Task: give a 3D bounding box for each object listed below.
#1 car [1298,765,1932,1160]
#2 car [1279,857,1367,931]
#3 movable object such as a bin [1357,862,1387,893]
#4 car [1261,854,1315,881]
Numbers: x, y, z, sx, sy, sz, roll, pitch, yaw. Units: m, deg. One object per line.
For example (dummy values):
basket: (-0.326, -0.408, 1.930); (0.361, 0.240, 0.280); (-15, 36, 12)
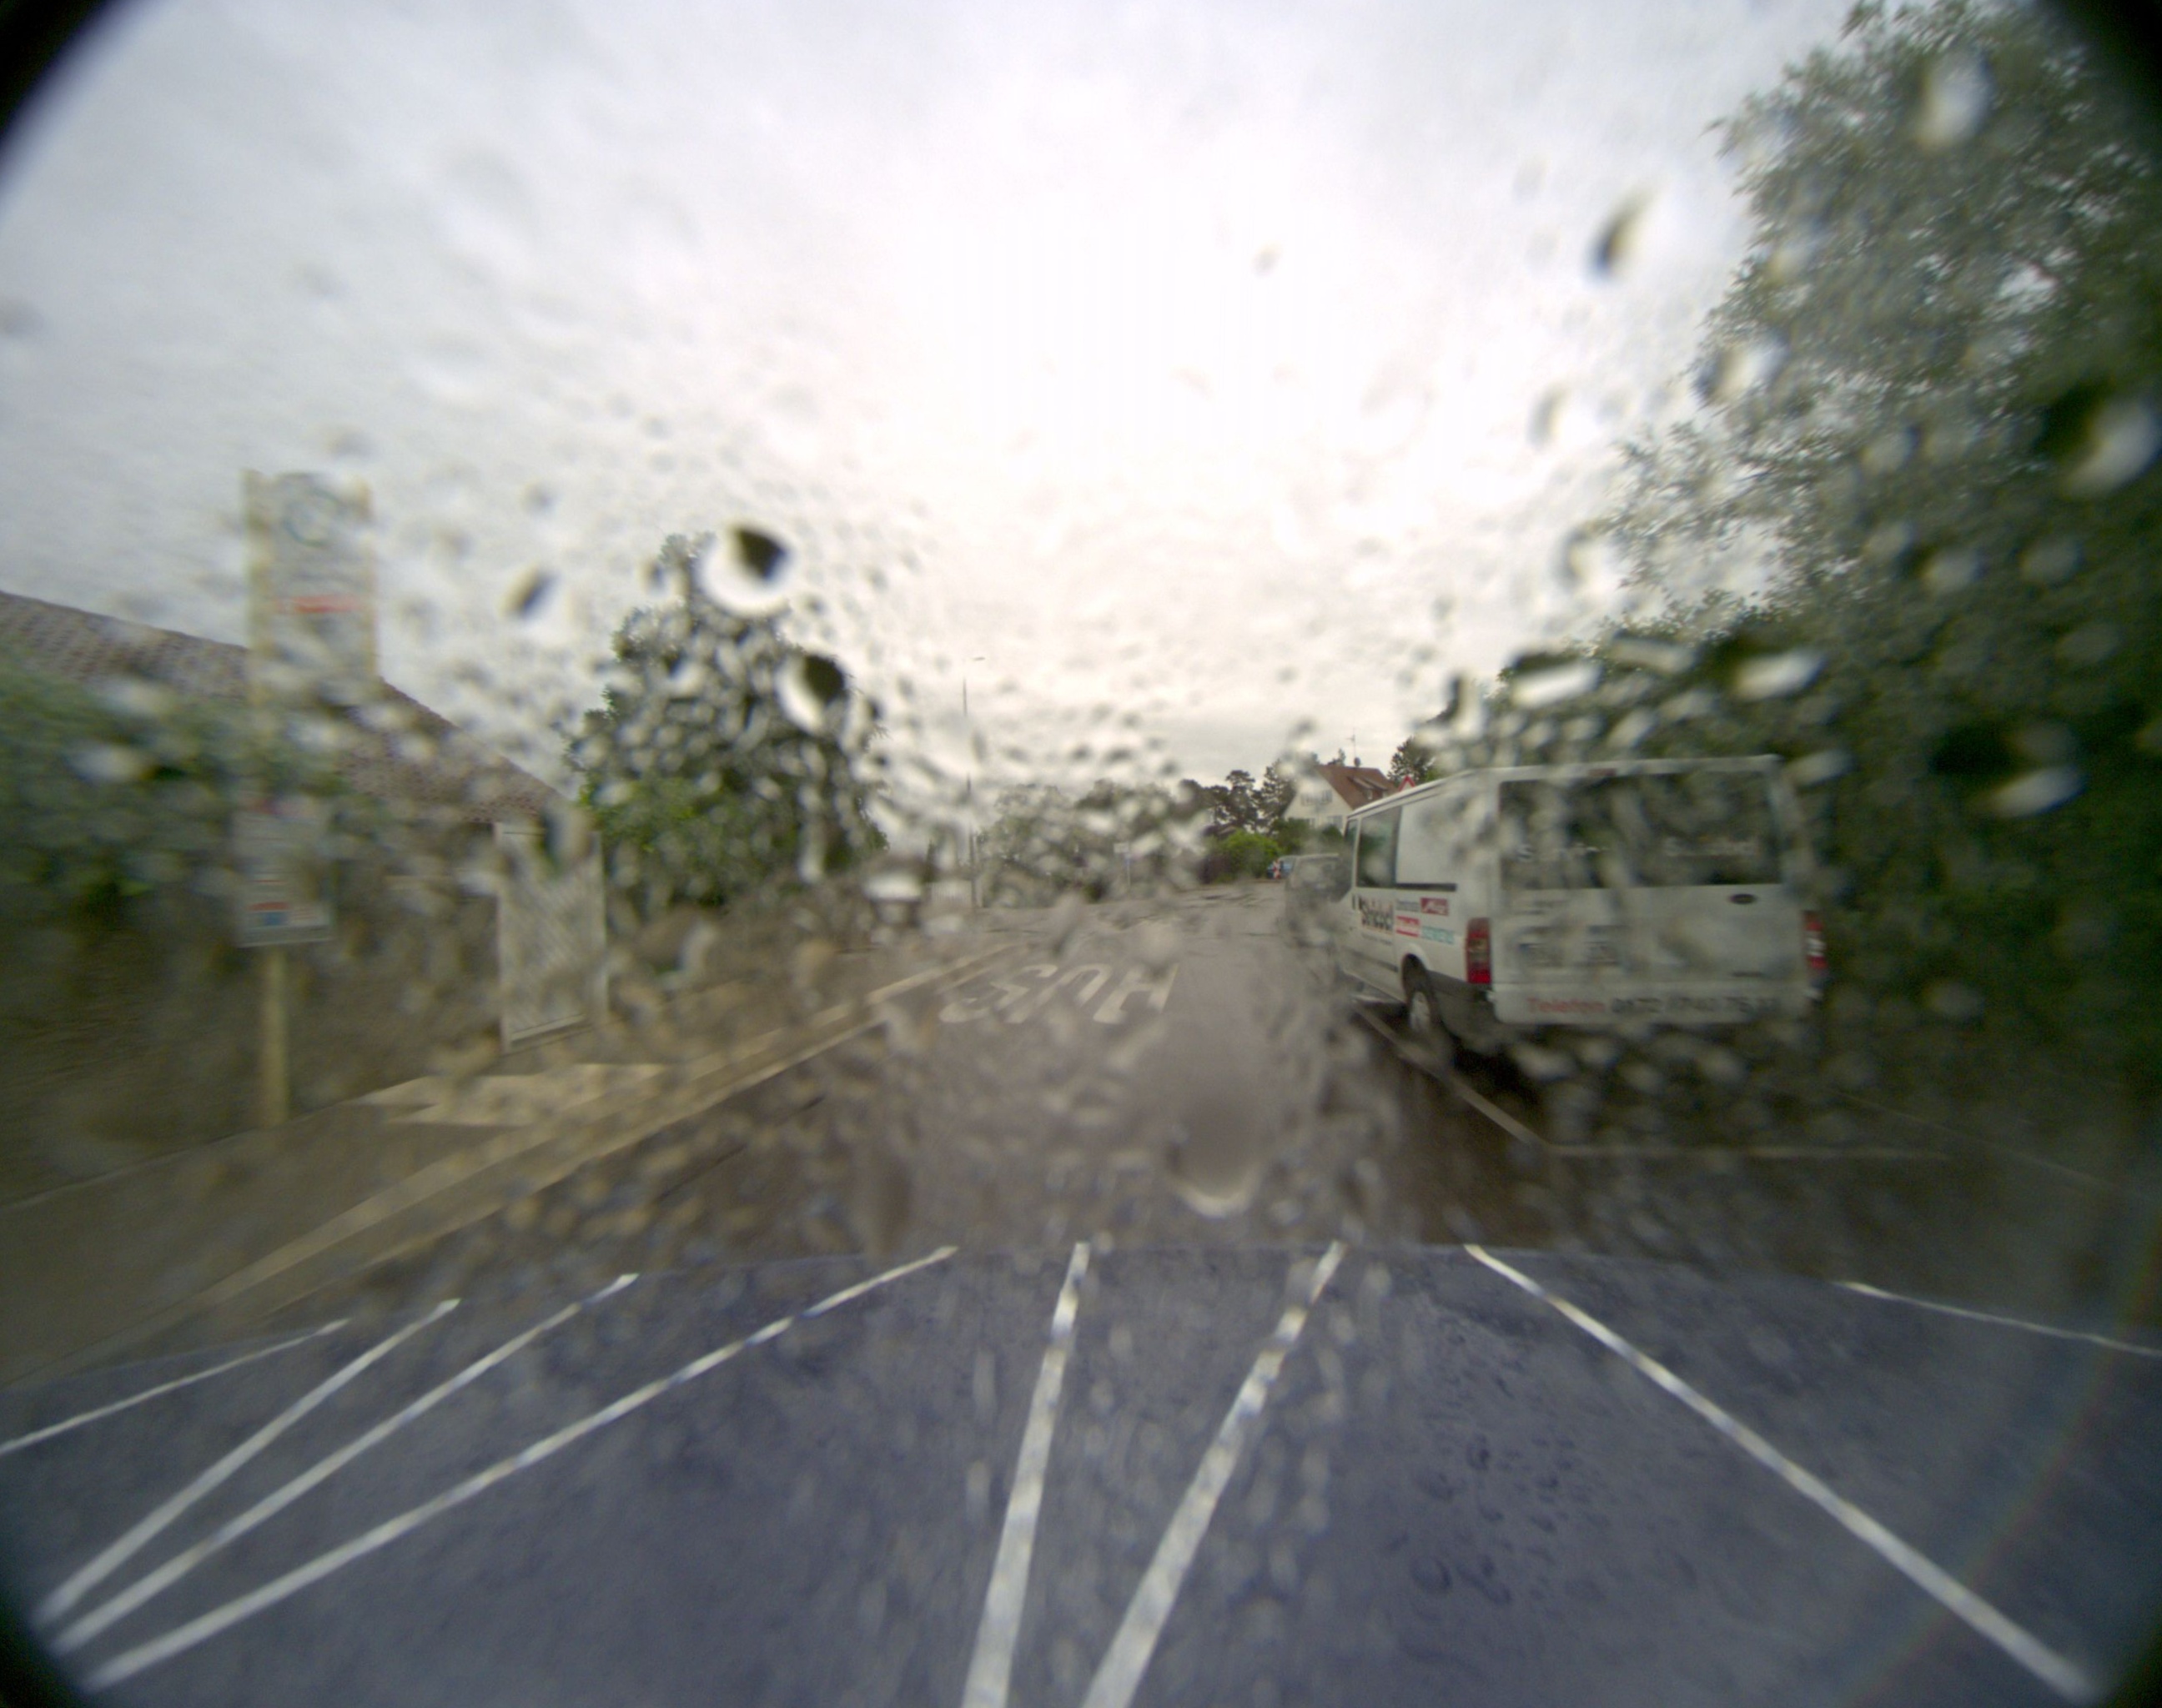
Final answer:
car: (3.415, 0.585, 6.447); (2.116, 1.963, 5.175); (-2, 0, 6)
car: (5.433, 0.846, 17.323); (1.604, 1.503, 2.945); (-2, 0, 12)
movable object such as a bin: (10.499, 0.856, 27.439); (0.846, 1.061, 0.623); (-5, -2, 30)
car: (12.829, 0.789, 46.938); (1.796, 1.460, 4.224); (-3, -1, 35)
